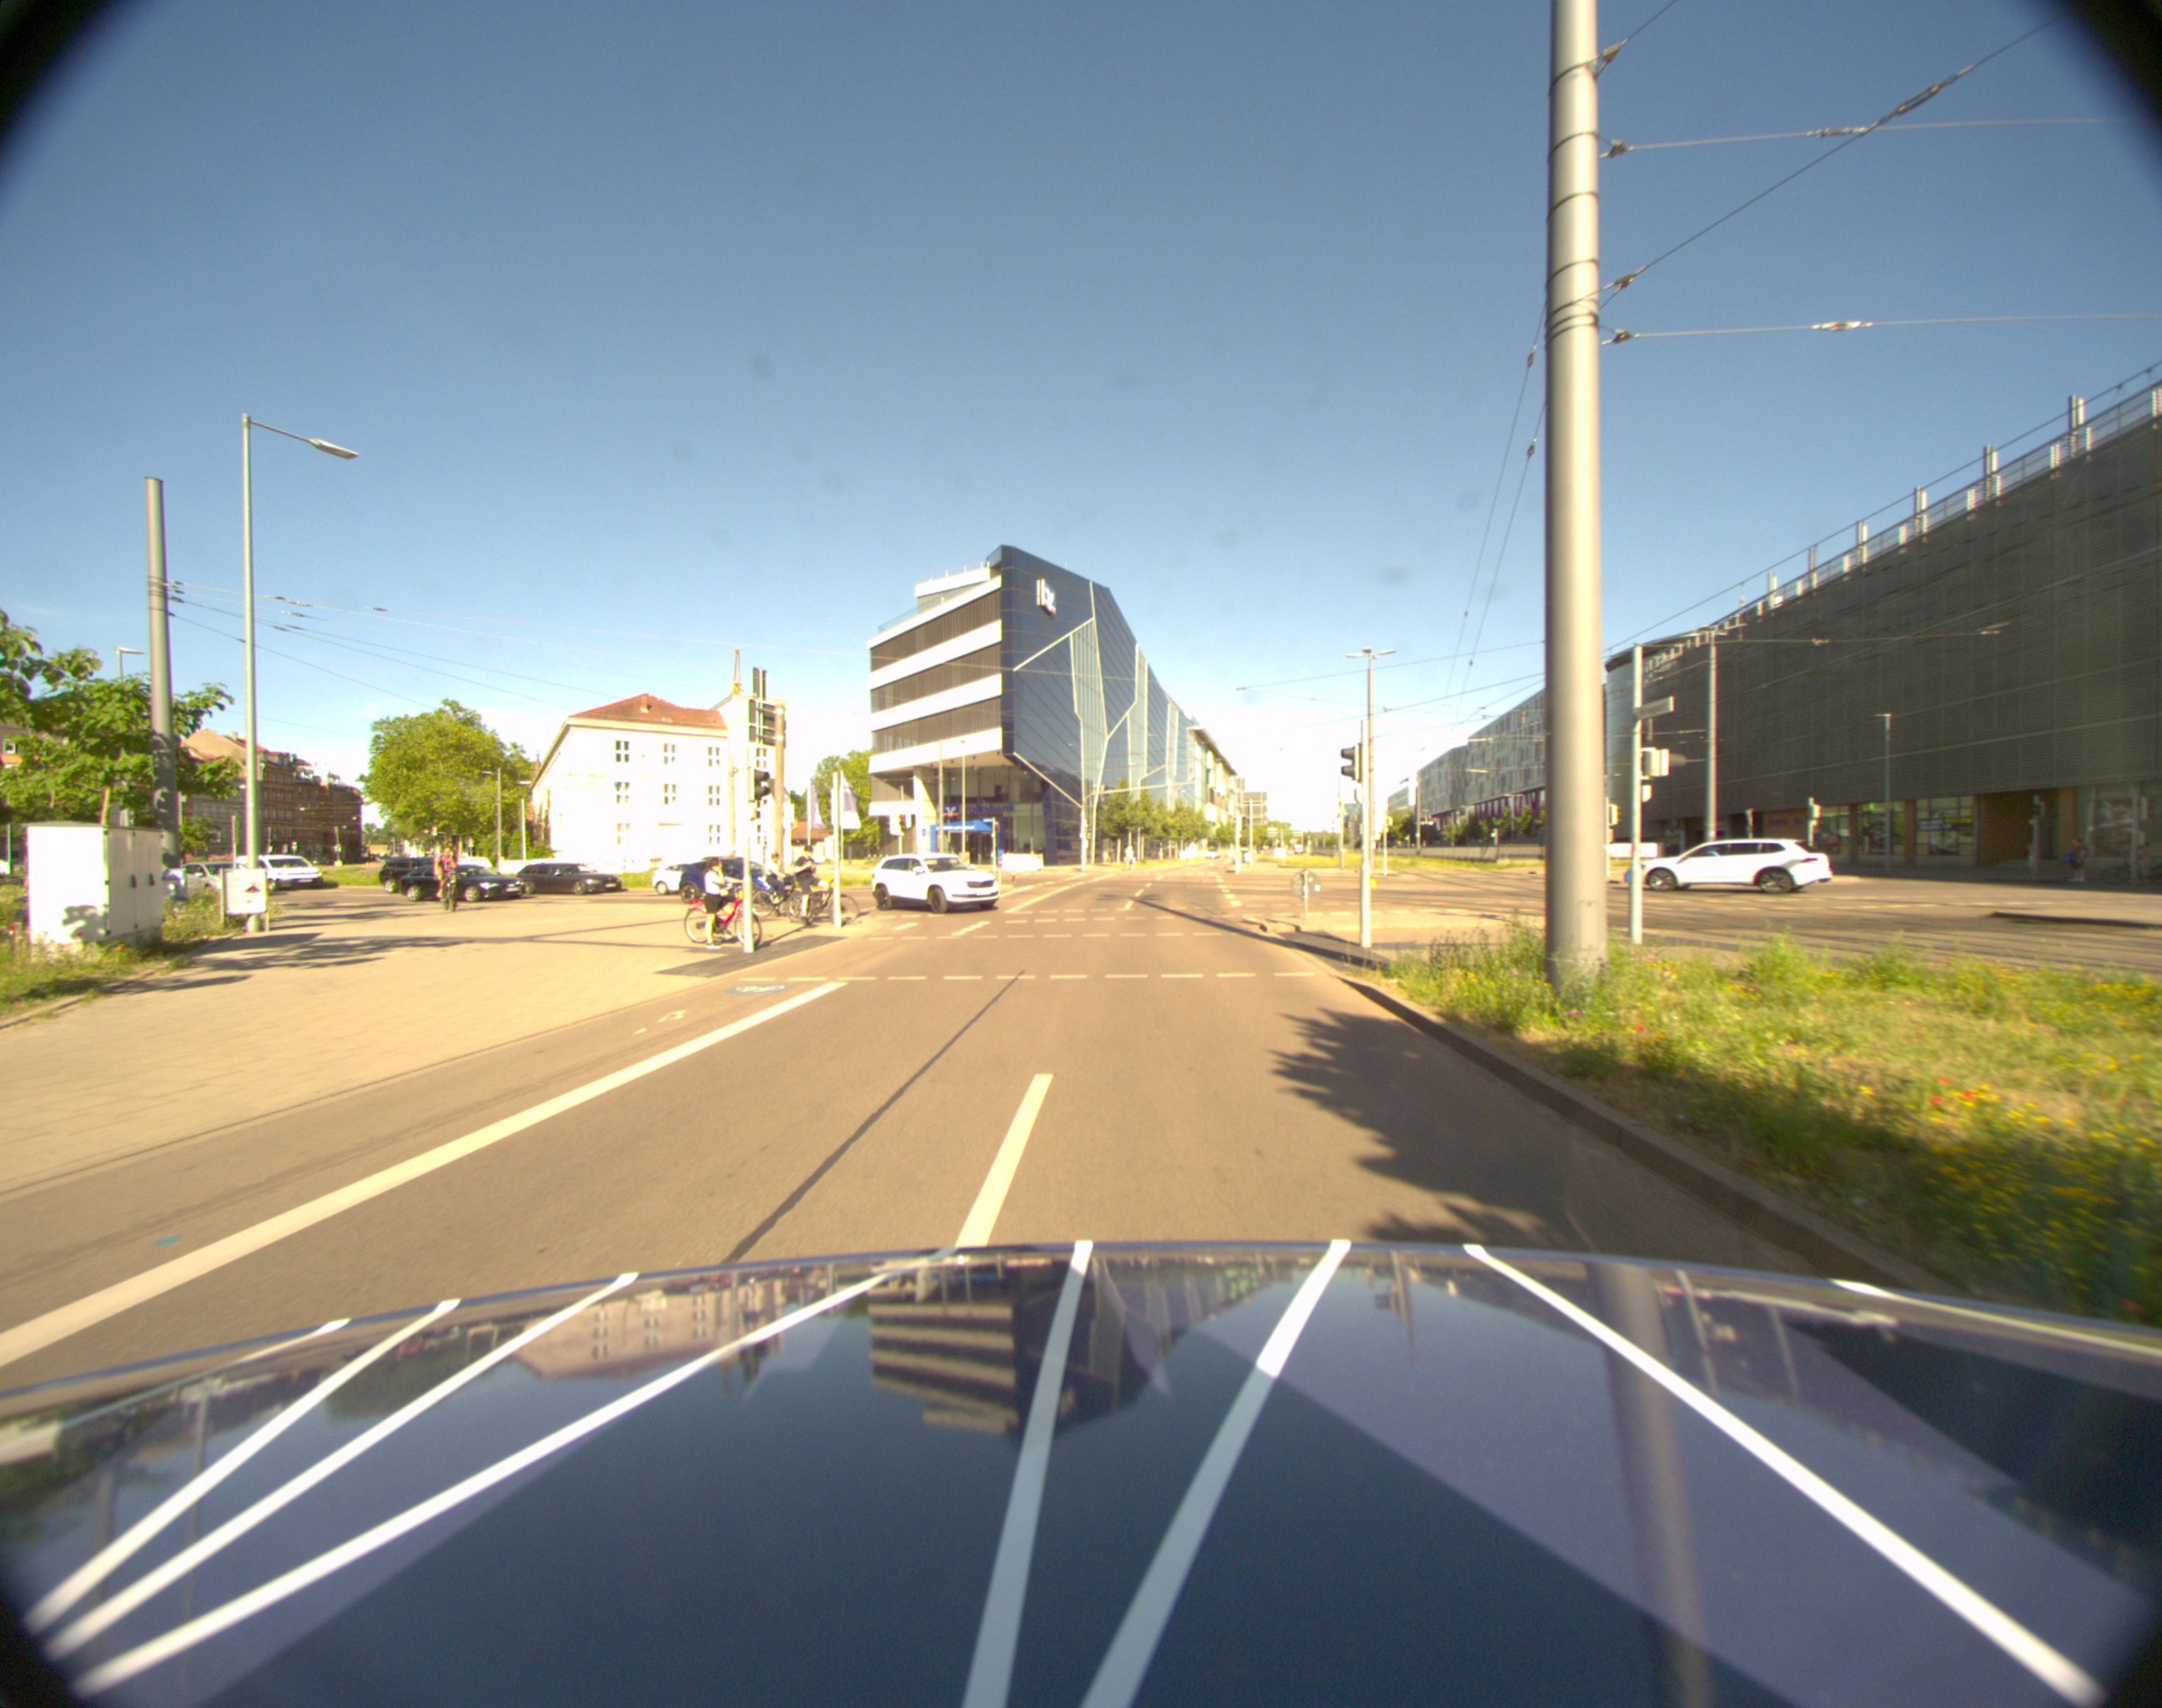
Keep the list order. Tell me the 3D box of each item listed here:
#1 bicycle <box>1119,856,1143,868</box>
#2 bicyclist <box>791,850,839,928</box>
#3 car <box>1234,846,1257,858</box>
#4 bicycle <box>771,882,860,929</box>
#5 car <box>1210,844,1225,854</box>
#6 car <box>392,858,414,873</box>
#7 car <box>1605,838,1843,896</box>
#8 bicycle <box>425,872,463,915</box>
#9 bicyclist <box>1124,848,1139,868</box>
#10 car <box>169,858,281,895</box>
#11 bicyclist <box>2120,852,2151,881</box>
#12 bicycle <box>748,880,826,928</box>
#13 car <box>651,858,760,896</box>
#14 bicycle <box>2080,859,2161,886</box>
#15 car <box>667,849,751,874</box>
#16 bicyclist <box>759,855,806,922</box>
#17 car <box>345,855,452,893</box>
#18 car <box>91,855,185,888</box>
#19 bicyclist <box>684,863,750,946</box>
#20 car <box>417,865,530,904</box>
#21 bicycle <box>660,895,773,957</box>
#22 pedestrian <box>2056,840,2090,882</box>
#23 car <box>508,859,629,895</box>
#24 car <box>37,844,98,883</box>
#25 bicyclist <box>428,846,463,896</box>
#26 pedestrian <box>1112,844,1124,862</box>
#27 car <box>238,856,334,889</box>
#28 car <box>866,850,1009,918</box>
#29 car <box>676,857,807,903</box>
[{"bbox_3d":[3.600,0.568,54.036,0.768,0.835,2.572,0,1,26],"label":"bicycle"},{"bbox_3d":[-6.244,0.811,17.846,0.905,1.788,0.550,1,0,8],"label":"bicyclist"},{"bbox_3d":[16.047,-0.177,73.980,1.996,1.084,4.004,0,1,16],"label":"car"},{"bbox_3d":[-6.216,1.200,17.845,1.893,1.032,0.607,1,0,8],"label":"bicycle"},{"bbox_3d":[22.535,-0.851,125.537,1.996,1.718,4.004,0,1,16],"label":"car"},{"bbox_3d":[-82.374,1.332,92.299,1.774,1.740,3.988,-1,1,-39],"label":"car"},{"bbox_3d":[20.388,0.337,24.418,1.817,1.642,5.532,-1,1,-34],"label":"car"},{"bbox_3d":[-17.643,1.067,21.076,0.698,1.098,2.006,2,0,-38],"label":"bicycle"},{"bbox_3d":[3.589,0.259,54.008,0.760,1.402,0.773,0,1,26],"label":"bicyclist"},{"bbox_3d":[-38.580,0.989,34.267,3.991,1.547,1.877,0,1,18],"label":"car"},{"bbox_3d":[40.902,0.476,29.479,0.560,1.133,0.562,-1,1,-19],"label":"bicyclist"},{"bbox_3d":[-7.466,1.242,19.271,2.006,1.098,0.698,2,-1,30],"label":"bicycle"},{"bbox_3d":[-15.679,0.955,31.797,3.828,1.423,1.670,0,4,14],"label":"car"},{"bbox_3d":[40.823,0.705,29.737,0.560,0.980,2.018,-1,1,-19],"label":"bicycle"},{"bbox_3d":[-23.502,0.462,48.087,4.307,1.491,1.999,-1,1,-3],"label":"car"},{"bbox_3d":[-7.606,0.849,19.345,1.000,1.645,0.597,2,1,30],"label":"bicyclist"},{"bbox_3d":[-32.312,0.900,35.989,4.318,1.675,1.771,0,2,18],"label":"car"},{"bbox_3d":[-46.138,0.819,37.195,3.990,1.547,1.878,0,1,24],"label":"car"},{"bbox_3d":[-6.333,0.860,13.230,0.826,1.395,0.590,1,0,14],"label":"bicyclist"},{"bbox_3d":[-24.174,1.184,30.272,3.829,1.425,1.588,0,1,17],"label":"car"},{"bbox_3d":[-6.362,1.235,13.273,1.704,0.948,0.697,1,0,14],"label":"bicycle"},{"bbox_3d":[41.797,0.281,32.009,0.589,1.741,0.625,-1,1,-4],"label":"pedestrian"},{"bbox_3d":[-22.479,0.985,33.354,4.475,1.423,1.843,0,2,15],"label":"car"},{"bbox_3d":[-55.071,0.487,41.290,4.641,1.970,1.879,0,1,37],"label":"car"},{"bbox_3d":[-17.694,0.469,21.174,0.698,1.369,0.736,2,0,-38],"label":"bicyclist"},{"bbox_3d":[3.153,-0.093,64.773,0.855,1.547,0.614,0,1,20],"label":"pedestrian"},{"bbox_3d":[-40.679,0.920,38.900,3.991,1.547,1.877,0,1,19],"label":"car"},{"bbox_3d":[-4.215,0.772,21.879,4.325,1.621,1.878,2,4,45],"label":"car"},{"bbox_3d":[-12.147,0.897,27.231,3.992,1.547,1.877,0,1,17],"label":"car"}]
